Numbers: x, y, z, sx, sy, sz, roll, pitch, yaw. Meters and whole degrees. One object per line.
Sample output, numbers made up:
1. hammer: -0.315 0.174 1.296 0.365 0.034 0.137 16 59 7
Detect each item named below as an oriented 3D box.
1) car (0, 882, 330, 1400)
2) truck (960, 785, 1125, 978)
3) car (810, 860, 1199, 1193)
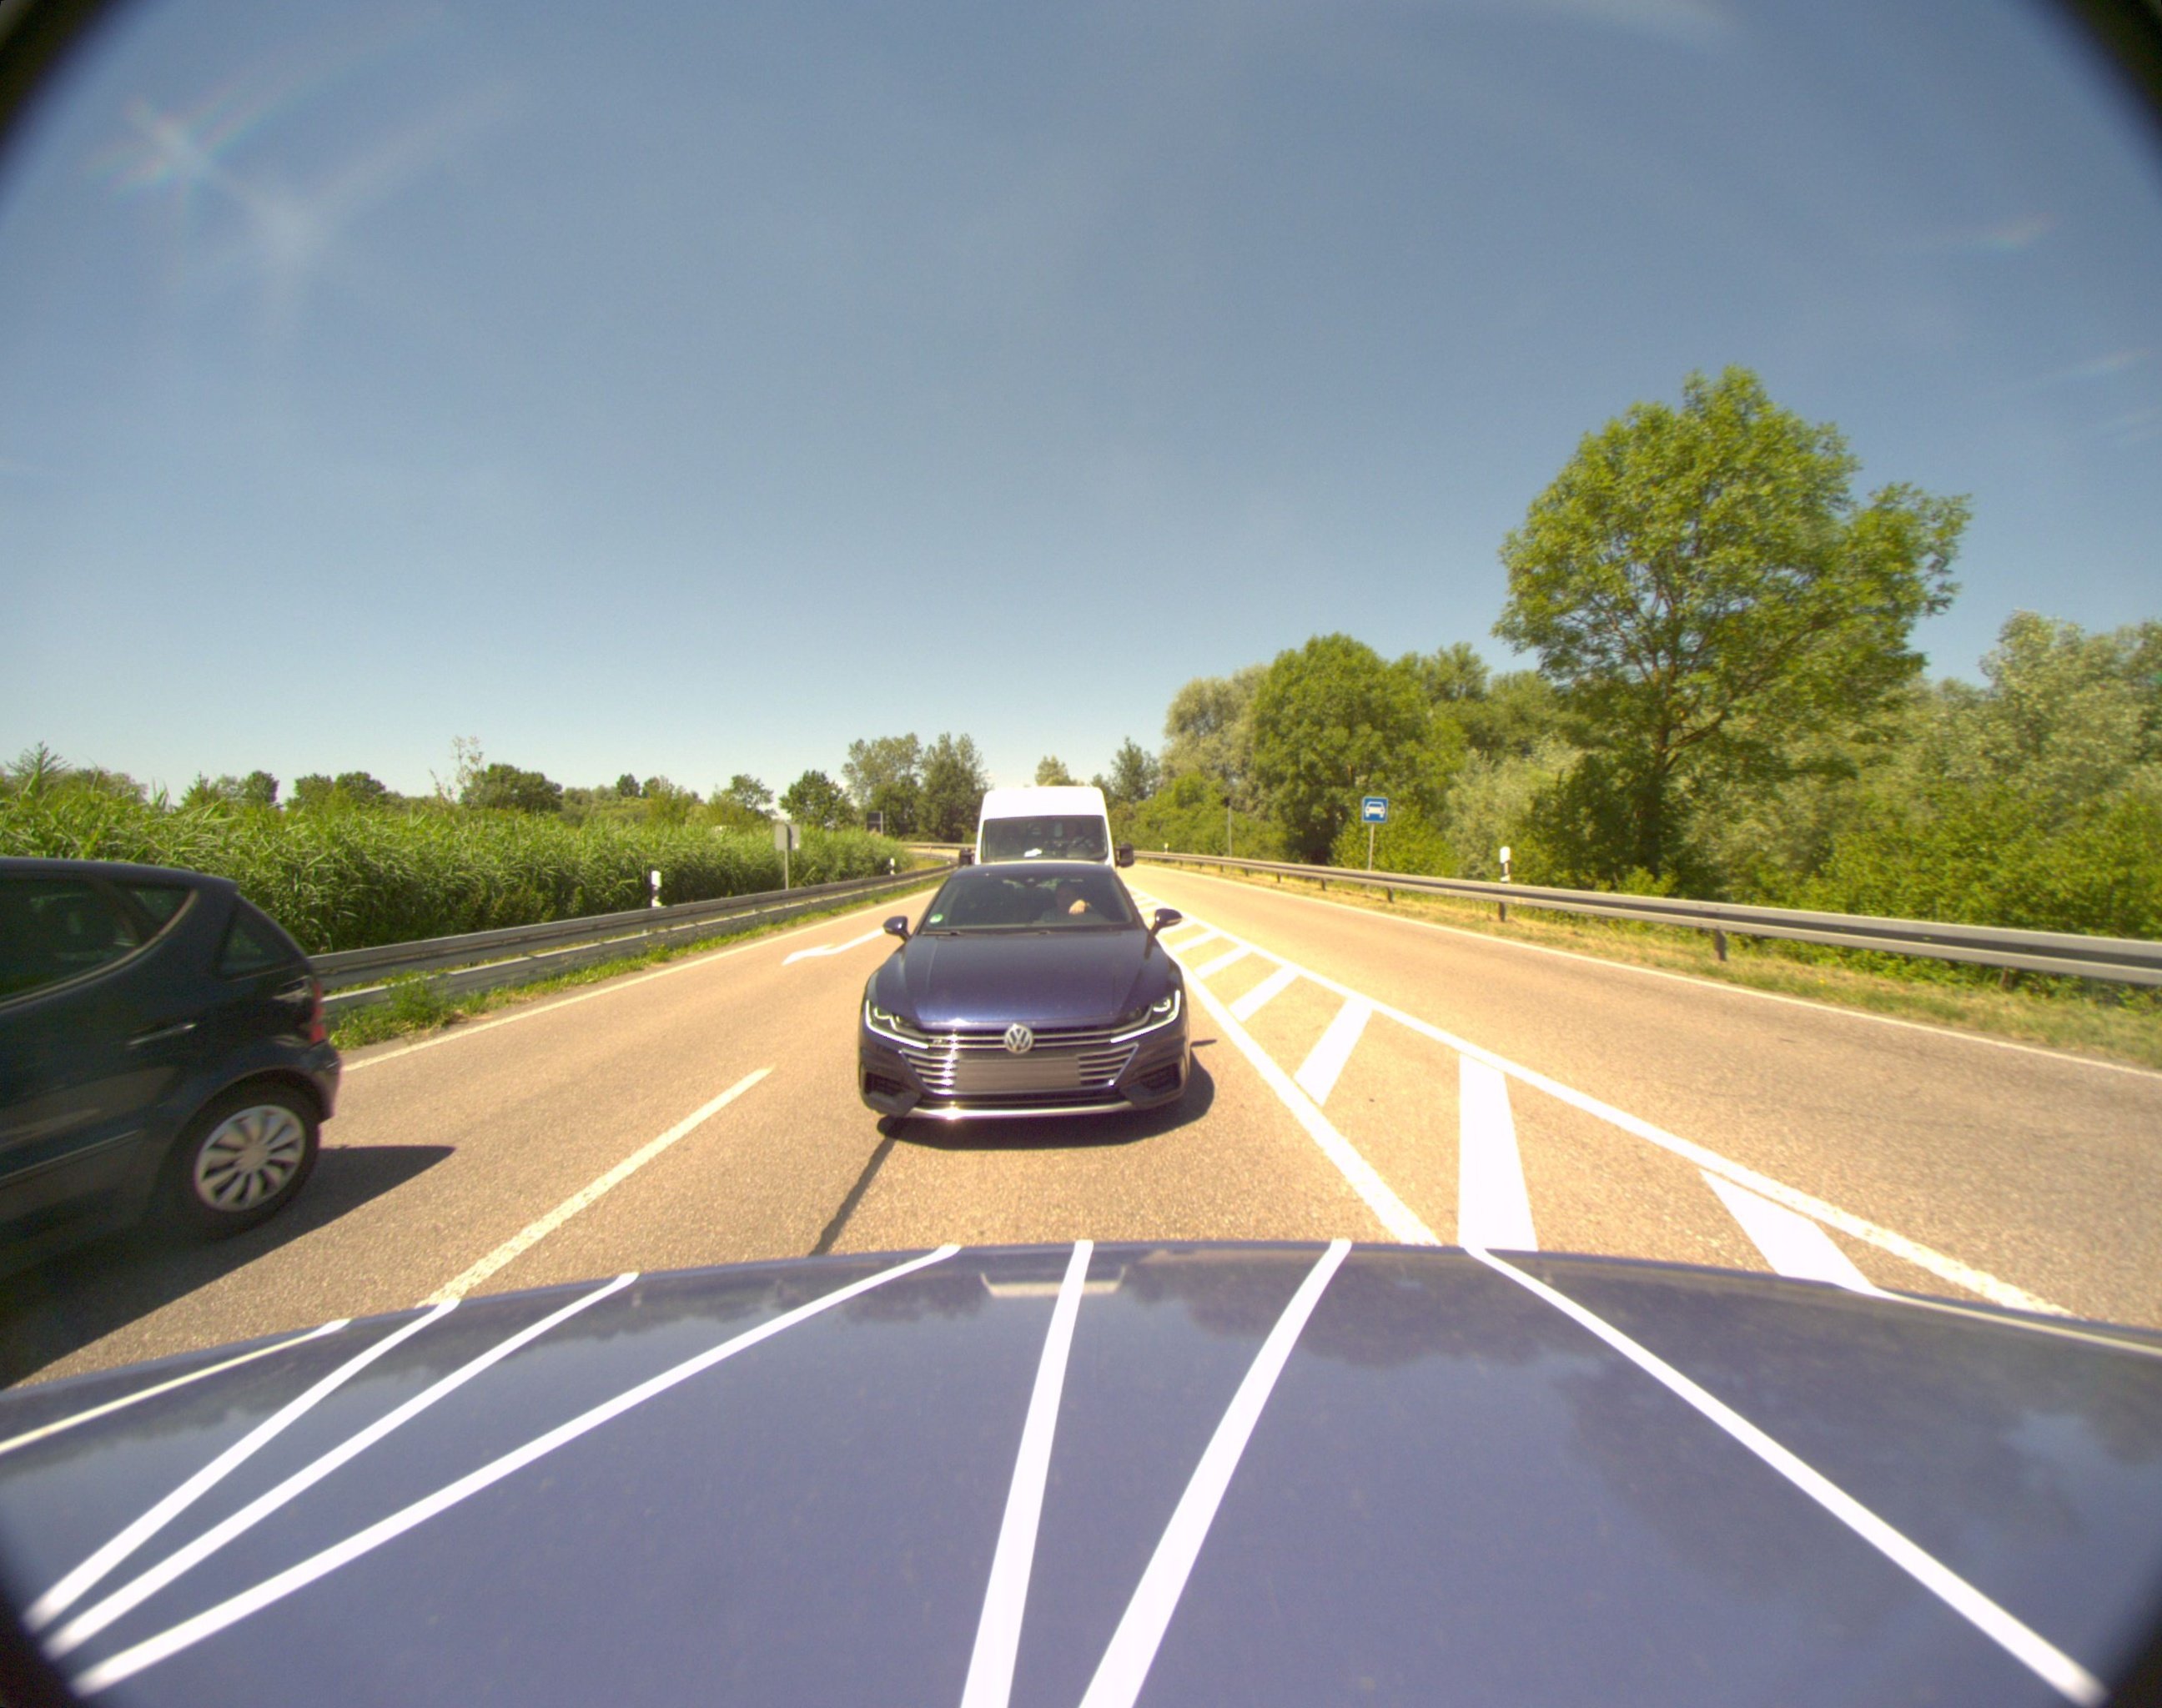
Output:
1. car: -4.278 0.976 1.675 1.672 1.591 3.552 -2 1 -1
2. truck: -0.660 0.301 12.494 2.011 2.365 5.909 -2 1 -4
3. car: -0.337 0.849 5.843 1.819 1.454 4.414 -2 1 1
